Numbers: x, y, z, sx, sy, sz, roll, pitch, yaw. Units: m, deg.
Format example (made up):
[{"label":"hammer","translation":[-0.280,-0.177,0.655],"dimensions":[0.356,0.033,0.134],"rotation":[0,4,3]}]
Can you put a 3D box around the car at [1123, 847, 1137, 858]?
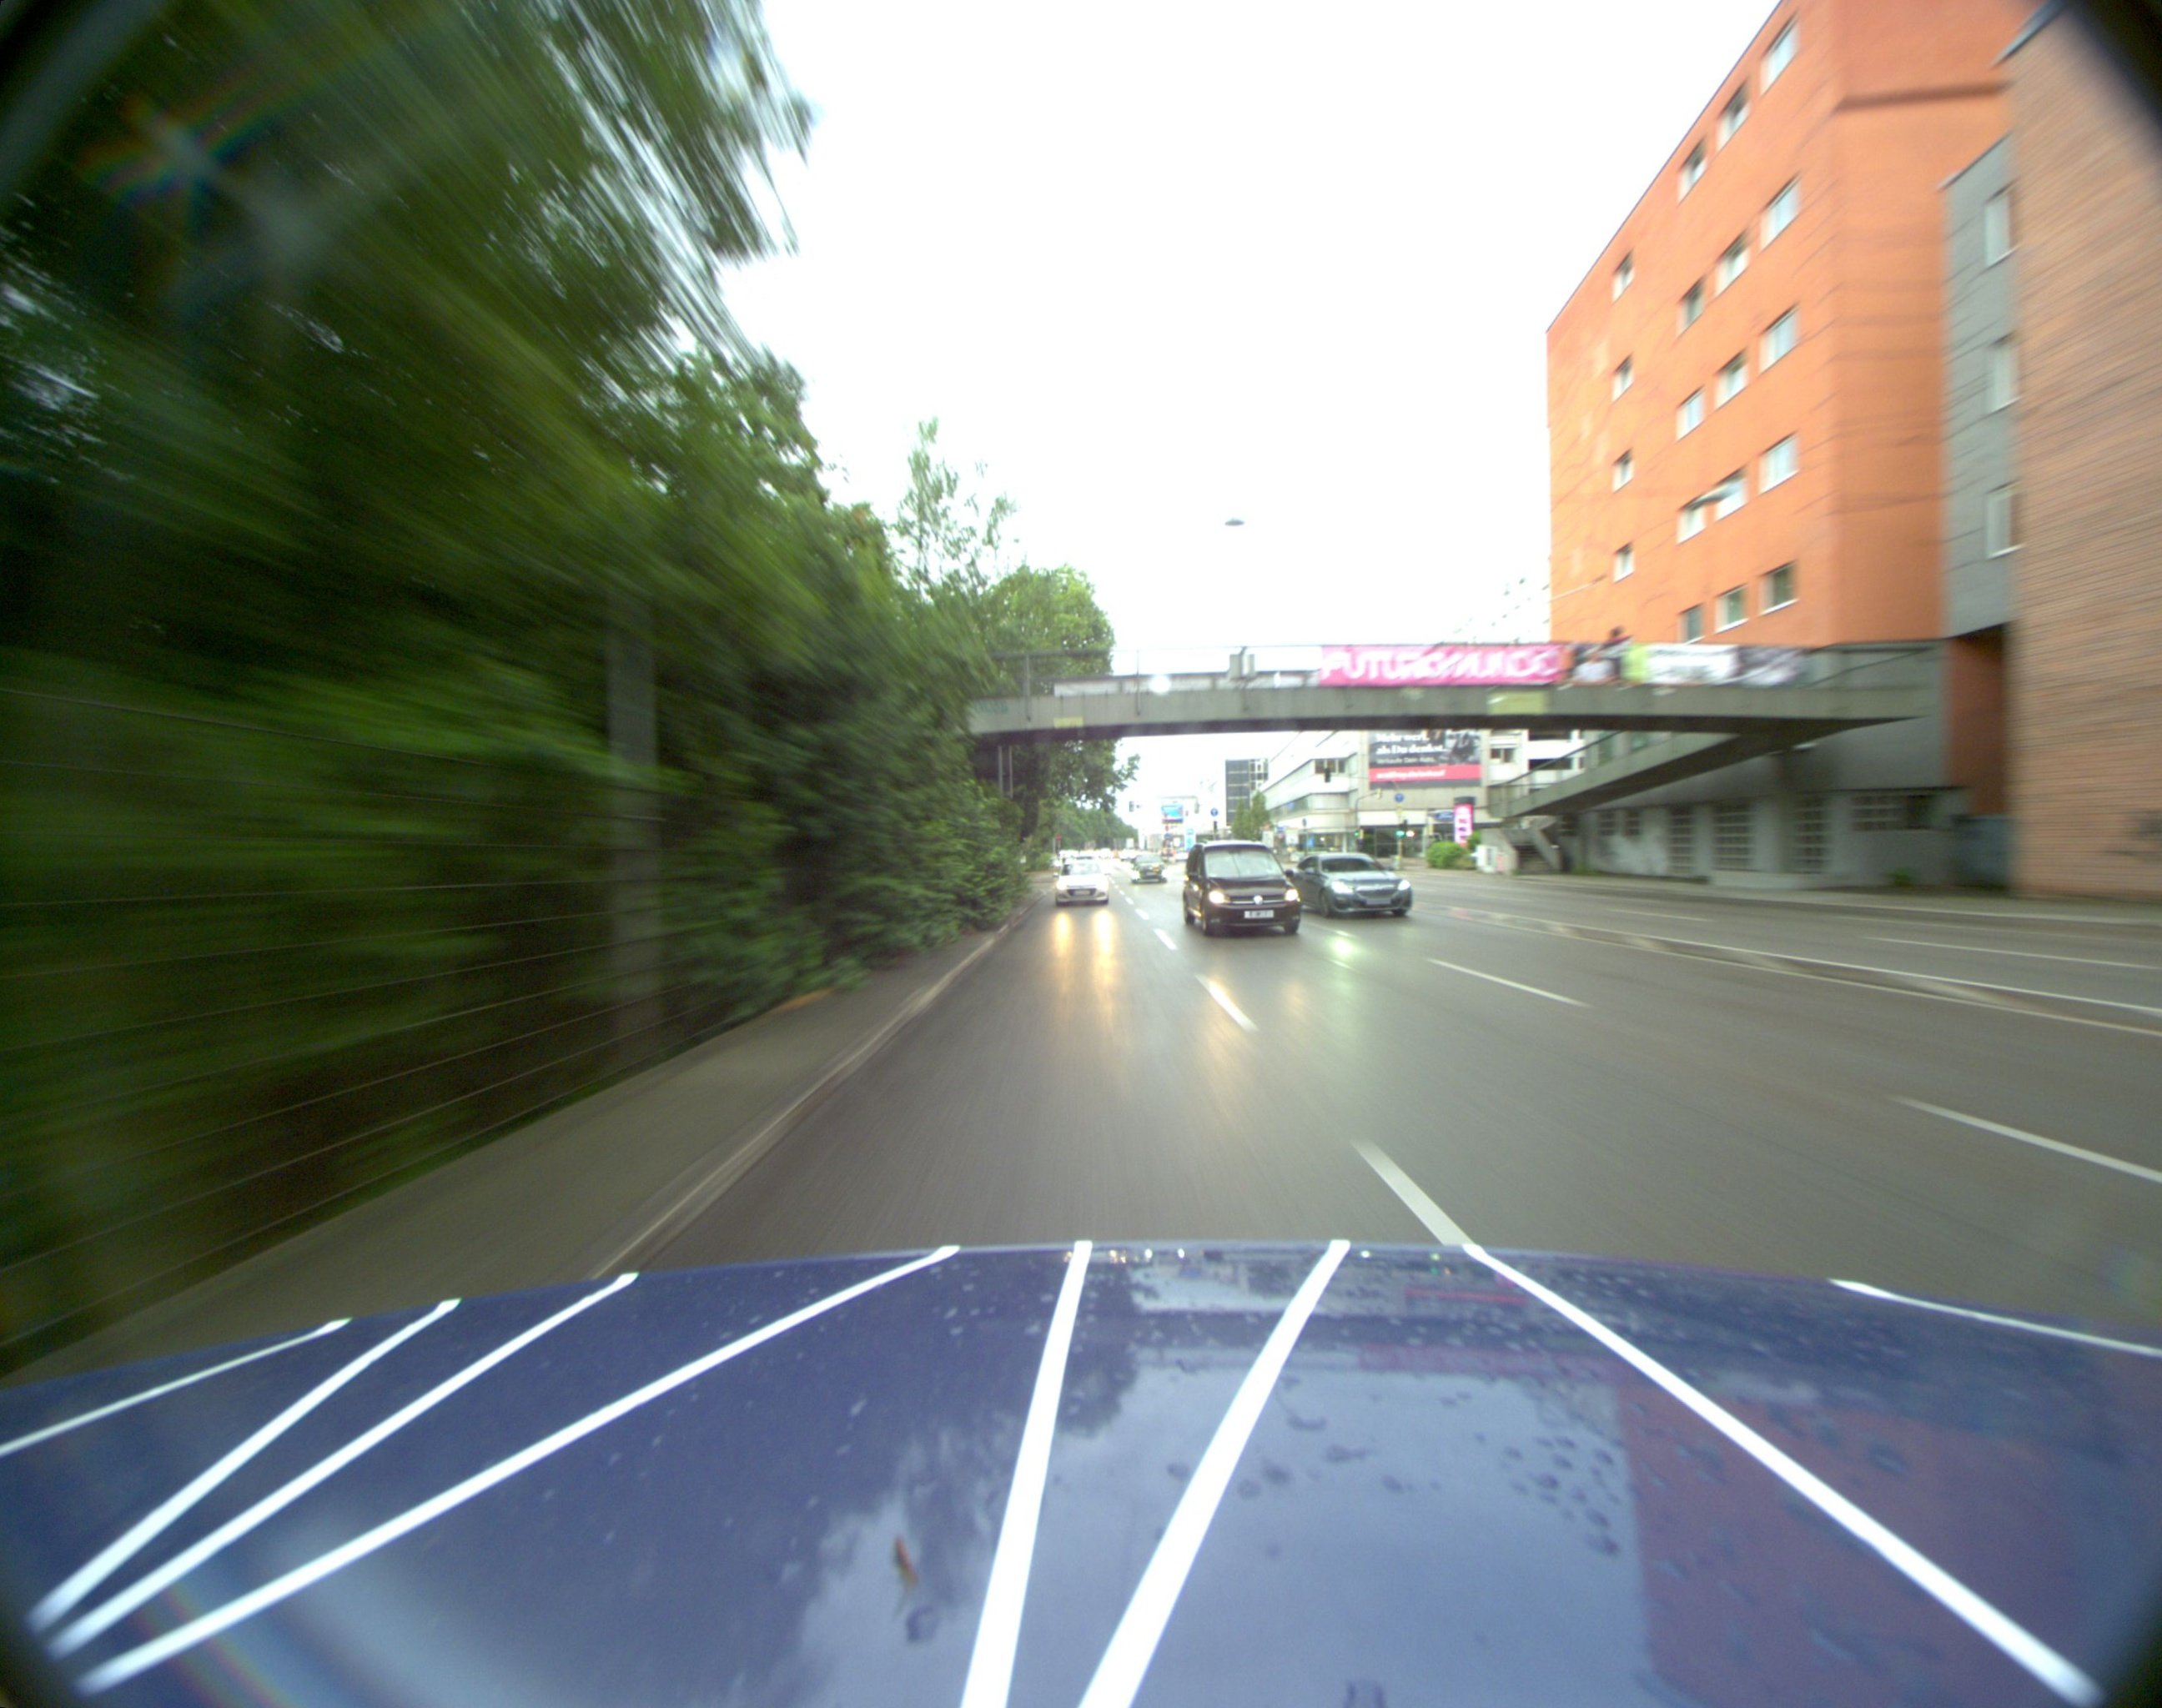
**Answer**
[{"label":"car","translation":[7.082,-0.288,109.509],"dimensions":[1.730,1.502,3.732],"rotation":[-2,1,5]}]

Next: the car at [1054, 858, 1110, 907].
[{"label":"car","translation":[0.044,0.928,26.055],"dimensions":[1.731,1.431,3.999],"rotation":[-2,1,0]}]

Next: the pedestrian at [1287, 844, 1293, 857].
[{"label":"pedestrian","translation":[25.720,-0.428,93.651],"dimensions":[0.575,1.522,0.454],"rotation":[-2,1,6]}]

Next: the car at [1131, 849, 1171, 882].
[{"label":"car","translation":[3.741,0.573,41.180],"dimensions":[1.731,1.604,3.999],"rotation":[-2,1,0]}]

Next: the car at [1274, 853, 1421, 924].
[{"label":"car","translation":[6.130,0.753,18.085],"dimensions":[1.670,1.406,4.539],"rotation":[-2,-1,-3]}]

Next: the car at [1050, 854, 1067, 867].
[{"label":"car","translation":[-2.896,0.839,97.887],"dimensions":[1.730,1.502,3.732],"rotation":[-2,1,4]}]

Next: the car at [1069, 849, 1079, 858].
[{"label":"car","translation":[-1.426,-0.059,160.192],"dimensions":[1.878,1.762,3.999],"rotation":[-3,1,2]}]

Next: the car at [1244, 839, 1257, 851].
[{"label":"car","translation":[28.864,-1.532,129.814],"dimensions":[1.883,1.856,4.002],"rotation":[-2,0,9]}]

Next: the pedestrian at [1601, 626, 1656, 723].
[{"label":"pedestrian","translation":[13.757,-4.488,19.123],"dimensions":[0.833,2.242,0.738],"rotation":[-1,1,-5]}]

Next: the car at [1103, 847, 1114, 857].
[{"label":"car","translation":[4.984,-0.379,137.250],"dimensions":[1.878,1.762,3.999],"rotation":[-3,1,2]}]

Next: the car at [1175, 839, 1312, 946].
[{"label":"car","translation":[3.103,0.672,15.328],"dimensions":[1.842,1.780,4.000],"rotation":[-3,0,0]}]

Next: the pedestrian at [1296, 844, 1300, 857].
[{"label":"pedestrian","translation":[26.702,-0.454,93.456],"dimensions":[0.437,1.522,0.513],"rotation":[-2,1,6]}]
